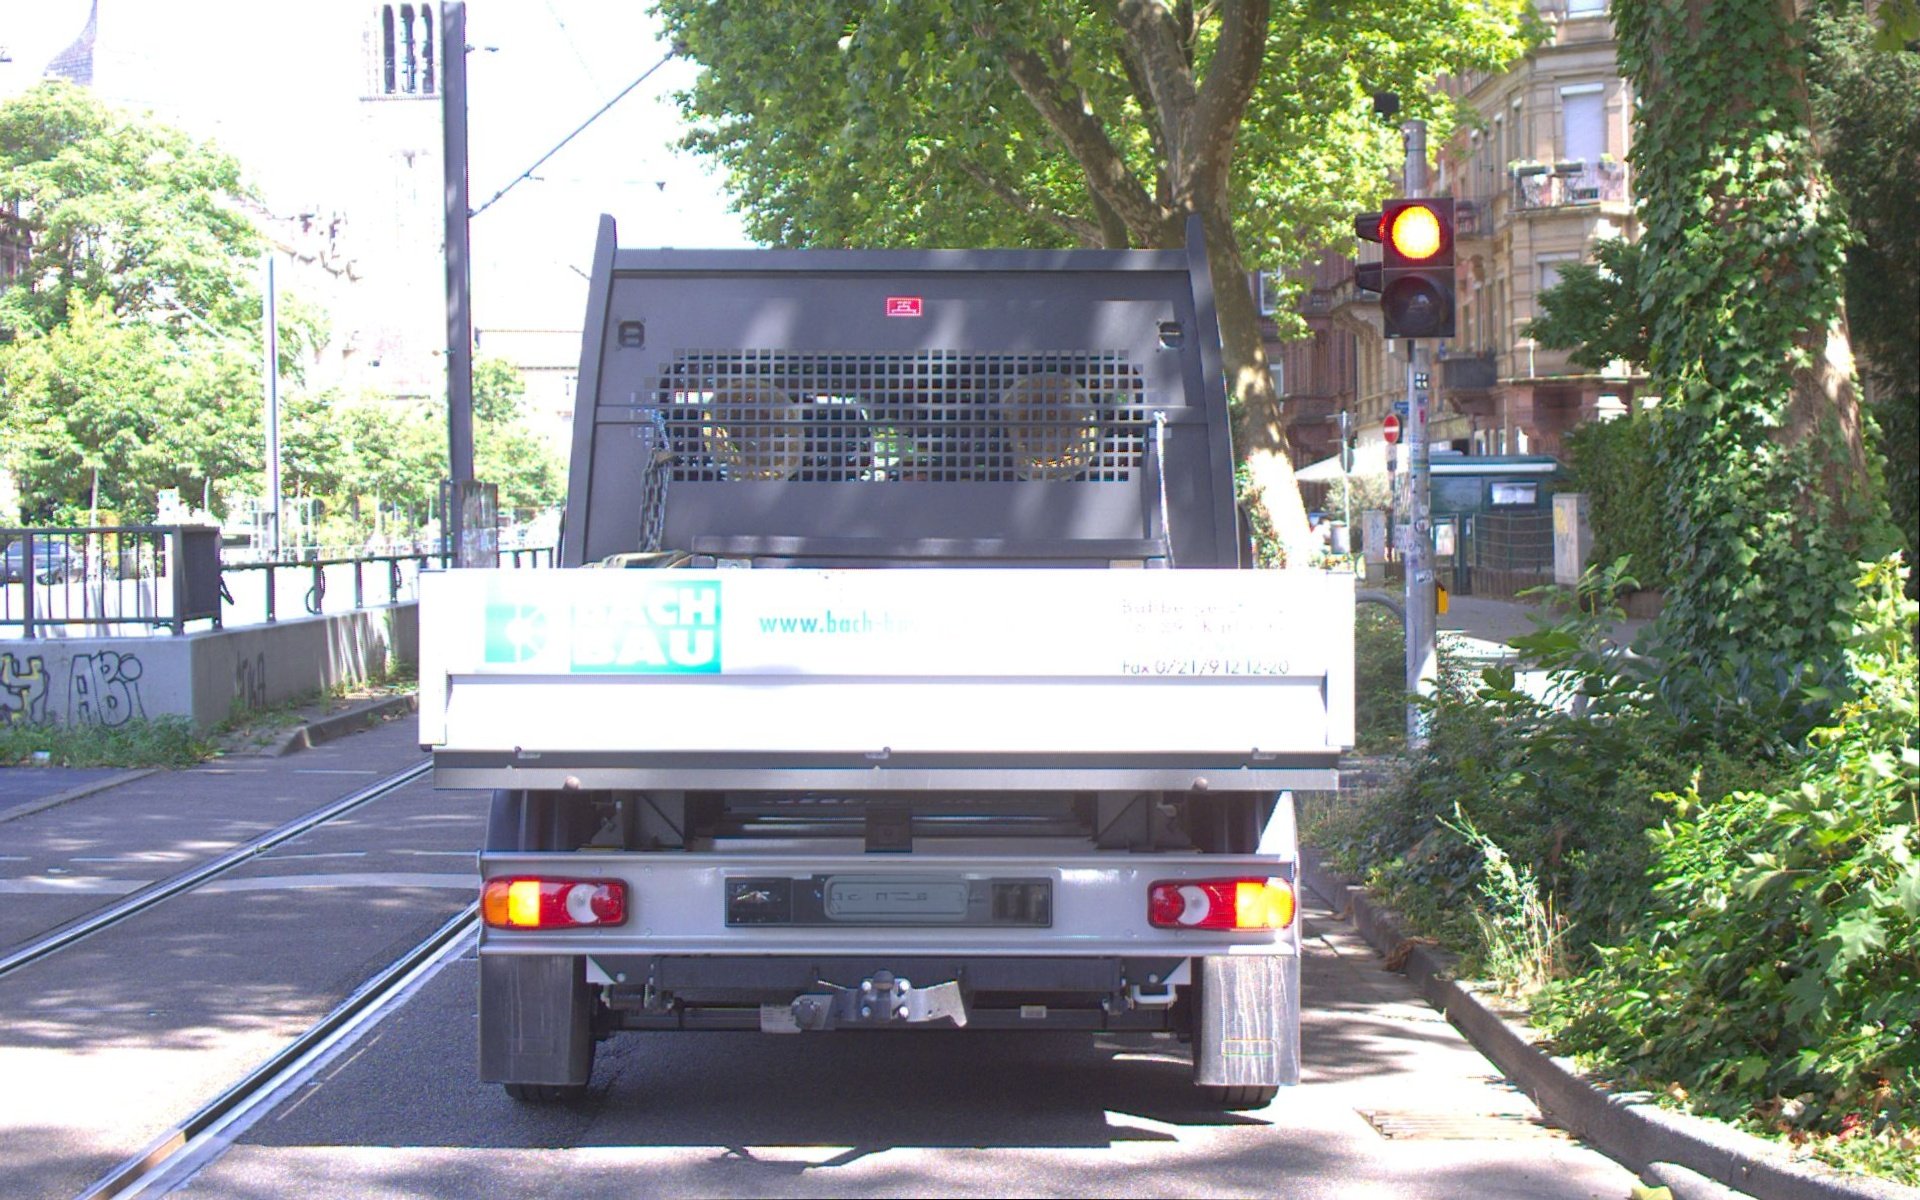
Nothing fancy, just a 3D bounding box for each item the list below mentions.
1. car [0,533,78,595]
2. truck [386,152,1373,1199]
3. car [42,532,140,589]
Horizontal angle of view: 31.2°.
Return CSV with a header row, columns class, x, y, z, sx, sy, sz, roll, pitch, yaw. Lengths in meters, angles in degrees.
class,x,y,z,sx,sy,sz,roll,pitch,yaw
car,-23.534,-0.919,86.456,1.770,1.493,4.001,-1,1,-2
truck,-0.164,0.136,9.681,2.138,2.311,4.402,0,1,0
car,-23.803,-1.092,94.291,1.770,1.493,4.001,-1,1,-2
